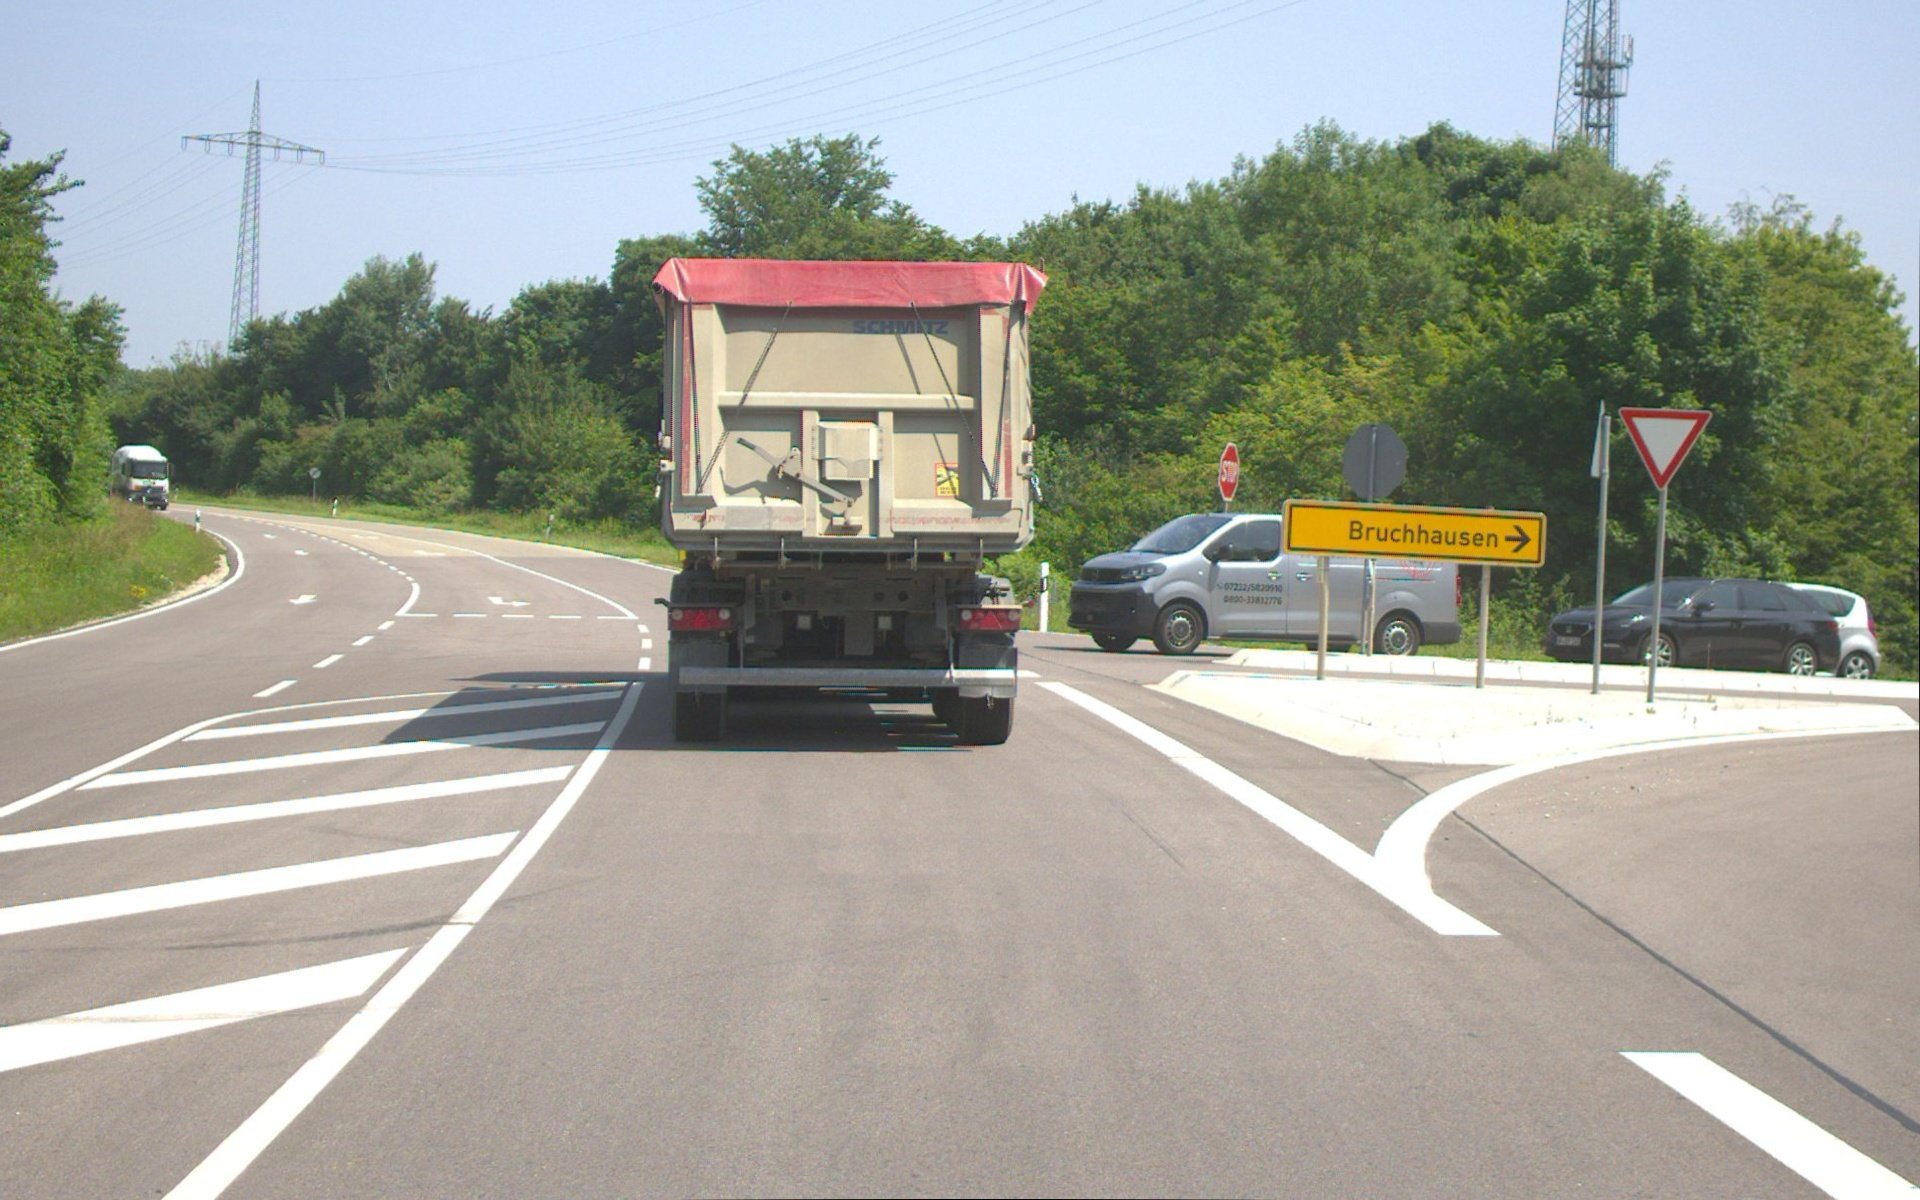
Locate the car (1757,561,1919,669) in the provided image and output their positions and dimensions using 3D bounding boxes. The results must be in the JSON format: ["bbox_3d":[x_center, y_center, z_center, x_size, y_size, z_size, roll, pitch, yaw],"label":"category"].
[{"bbox_3d":[14.370,0.216,52.752,3.981,1.574,1.845,0,1,-31],"label":"car"}]

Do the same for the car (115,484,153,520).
[{"bbox_3d":[-42.669,-5.054,177.496,1.842,1.773,4.895,1,1,-14],"label":"car"}]

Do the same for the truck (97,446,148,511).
[{"bbox_3d":[-48.481,-7.007,199.112,2.626,3.658,8.799,1,2,-13],"label":"truck"}]

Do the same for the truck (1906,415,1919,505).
[{"bbox_3d":[47.618,-5.969,145.187,4.436,3.905,16.718,0,1,-28],"label":"truck"}]

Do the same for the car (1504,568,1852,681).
[{"bbox_3d":[9.982,0.344,47.730,4.548,1.469,1.869,1,1,-28],"label":"car"}]

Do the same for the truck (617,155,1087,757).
[{"bbox_3d":[-1.303,-1.131,28.822,2.892,3.948,11.936,1,2,-7],"label":"truck"}]

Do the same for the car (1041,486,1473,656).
[{"bbox_3d":[3.886,-0.364,44.822,5.211,1.900,2.014,3,0,-25],"label":"car"}]
